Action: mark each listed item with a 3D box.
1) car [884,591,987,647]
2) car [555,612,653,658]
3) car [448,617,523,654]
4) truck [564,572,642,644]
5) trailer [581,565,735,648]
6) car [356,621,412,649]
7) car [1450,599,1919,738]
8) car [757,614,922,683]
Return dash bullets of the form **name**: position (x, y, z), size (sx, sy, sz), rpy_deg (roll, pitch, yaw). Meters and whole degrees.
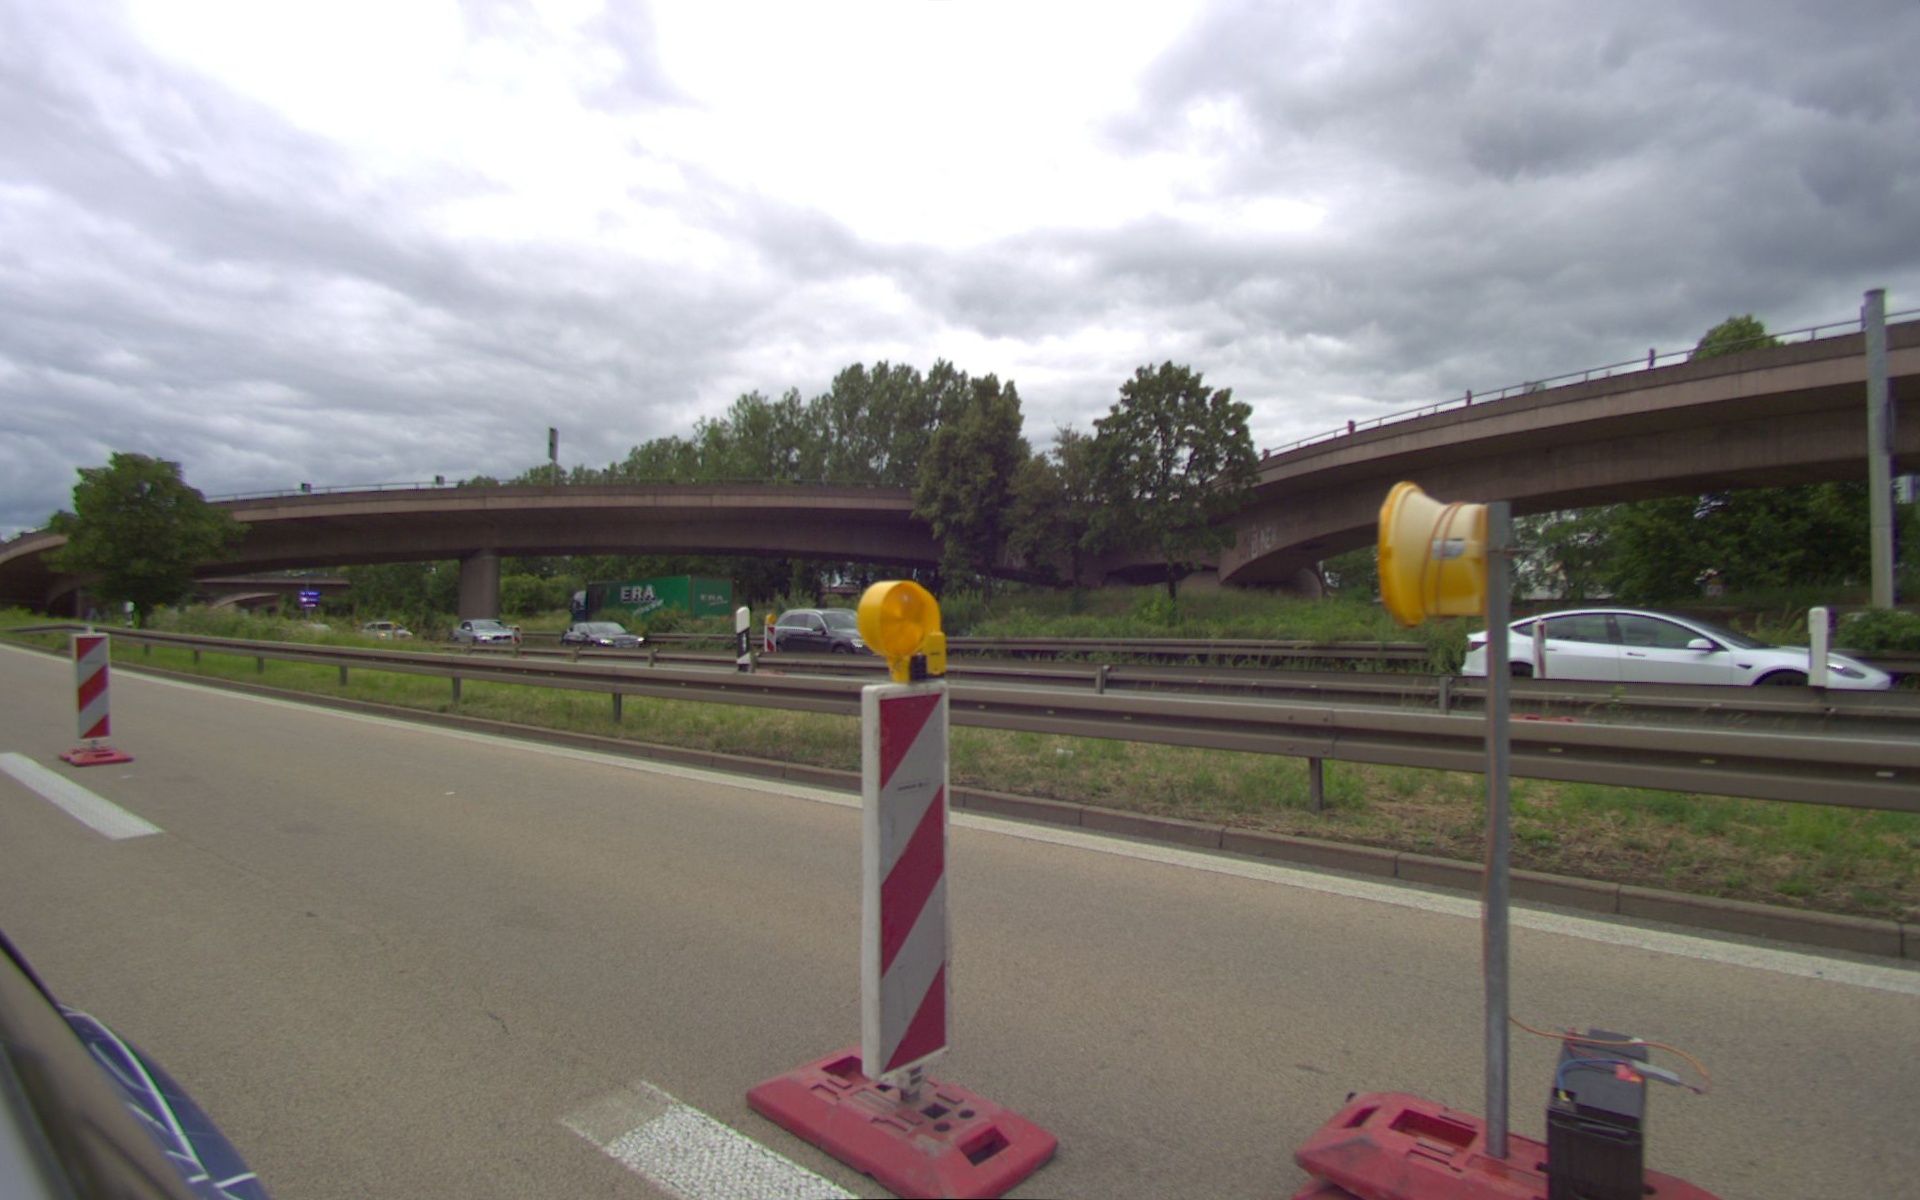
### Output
- **car**: position (-1.007, 0.733, 39.188), size (1.968, 2.029, 4.007), rpy_deg (1, -1, -39)
- **car**: position (-13.532, 1.278, 38.366), size (2.013, 1.627, 4.300), rpy_deg (1, -1, -42)
- **car**: position (-22.086, 1.625, 47.039), size (2.013, 1.627, 4.300), rpy_deg (1, -1, -42)
- **truck**: position (-22.568, 0.539, 63.885), size (2.719, 4.304, 5.509), rpy_deg (1, -1, -42)
- **trailer**: position (-17.869, 0.458, 58.806), size (2.738, 4.327, 13.993), rpy_deg (1, -1, -43)
- **car**: position (-34.253, 2.044, 60.117), size (2.013, 1.627, 4.300), rpy_deg (1, -1, -42)
- **car**: position (9.251, 0.761, 13.162), size (1.969, 1.466, 4.807), rpy_deg (1, -1, -42)
- **car**: position (-3.222, 1.188, 26.385), size (2.013, 1.627, 4.584), rpy_deg (1, -1, -42)
